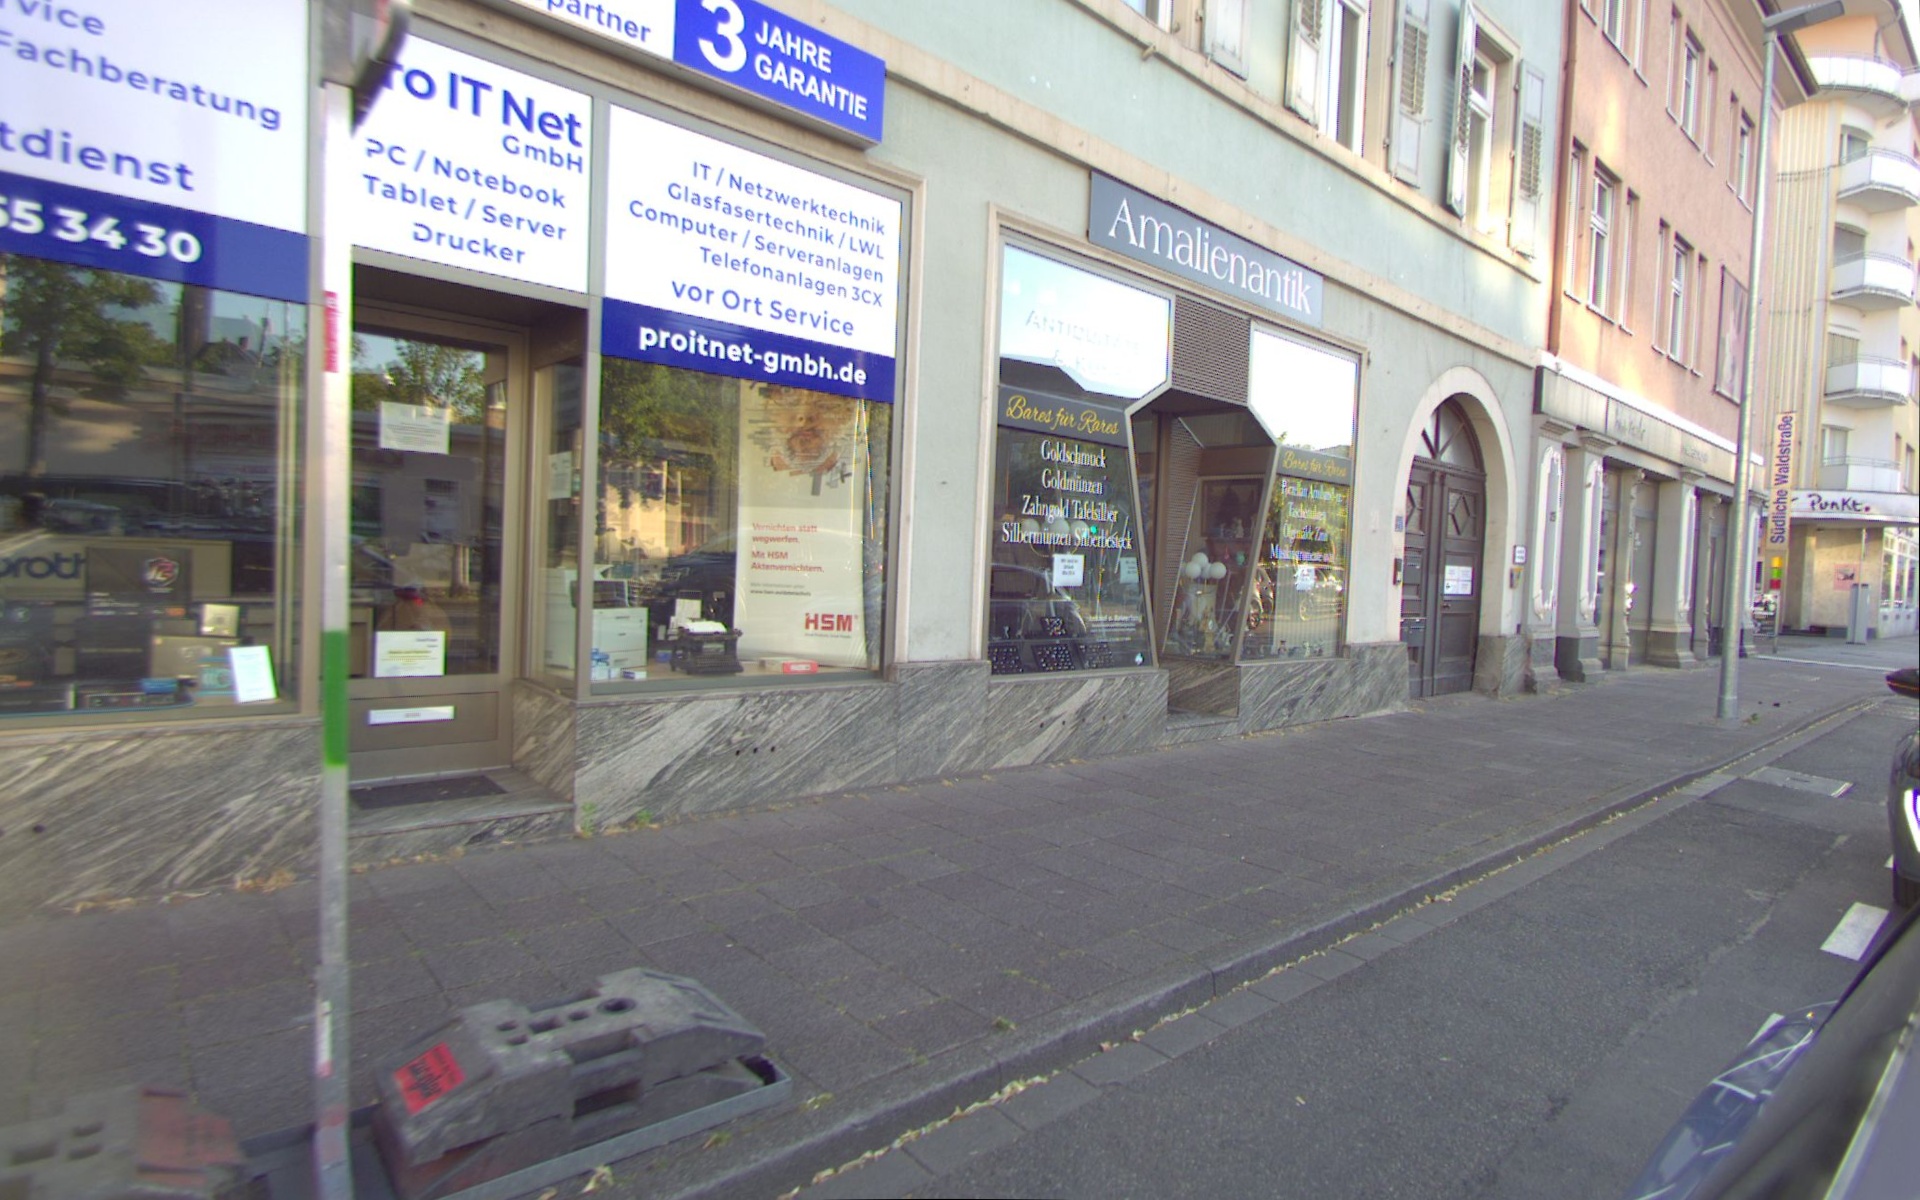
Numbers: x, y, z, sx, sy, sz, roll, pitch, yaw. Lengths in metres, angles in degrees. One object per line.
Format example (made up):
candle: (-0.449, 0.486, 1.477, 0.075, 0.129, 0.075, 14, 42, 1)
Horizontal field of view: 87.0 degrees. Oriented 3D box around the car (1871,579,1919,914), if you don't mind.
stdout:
car: (6.154, 0.684, 5.036, 3.834, 1.460, 1.751, 0, 2, -38)
